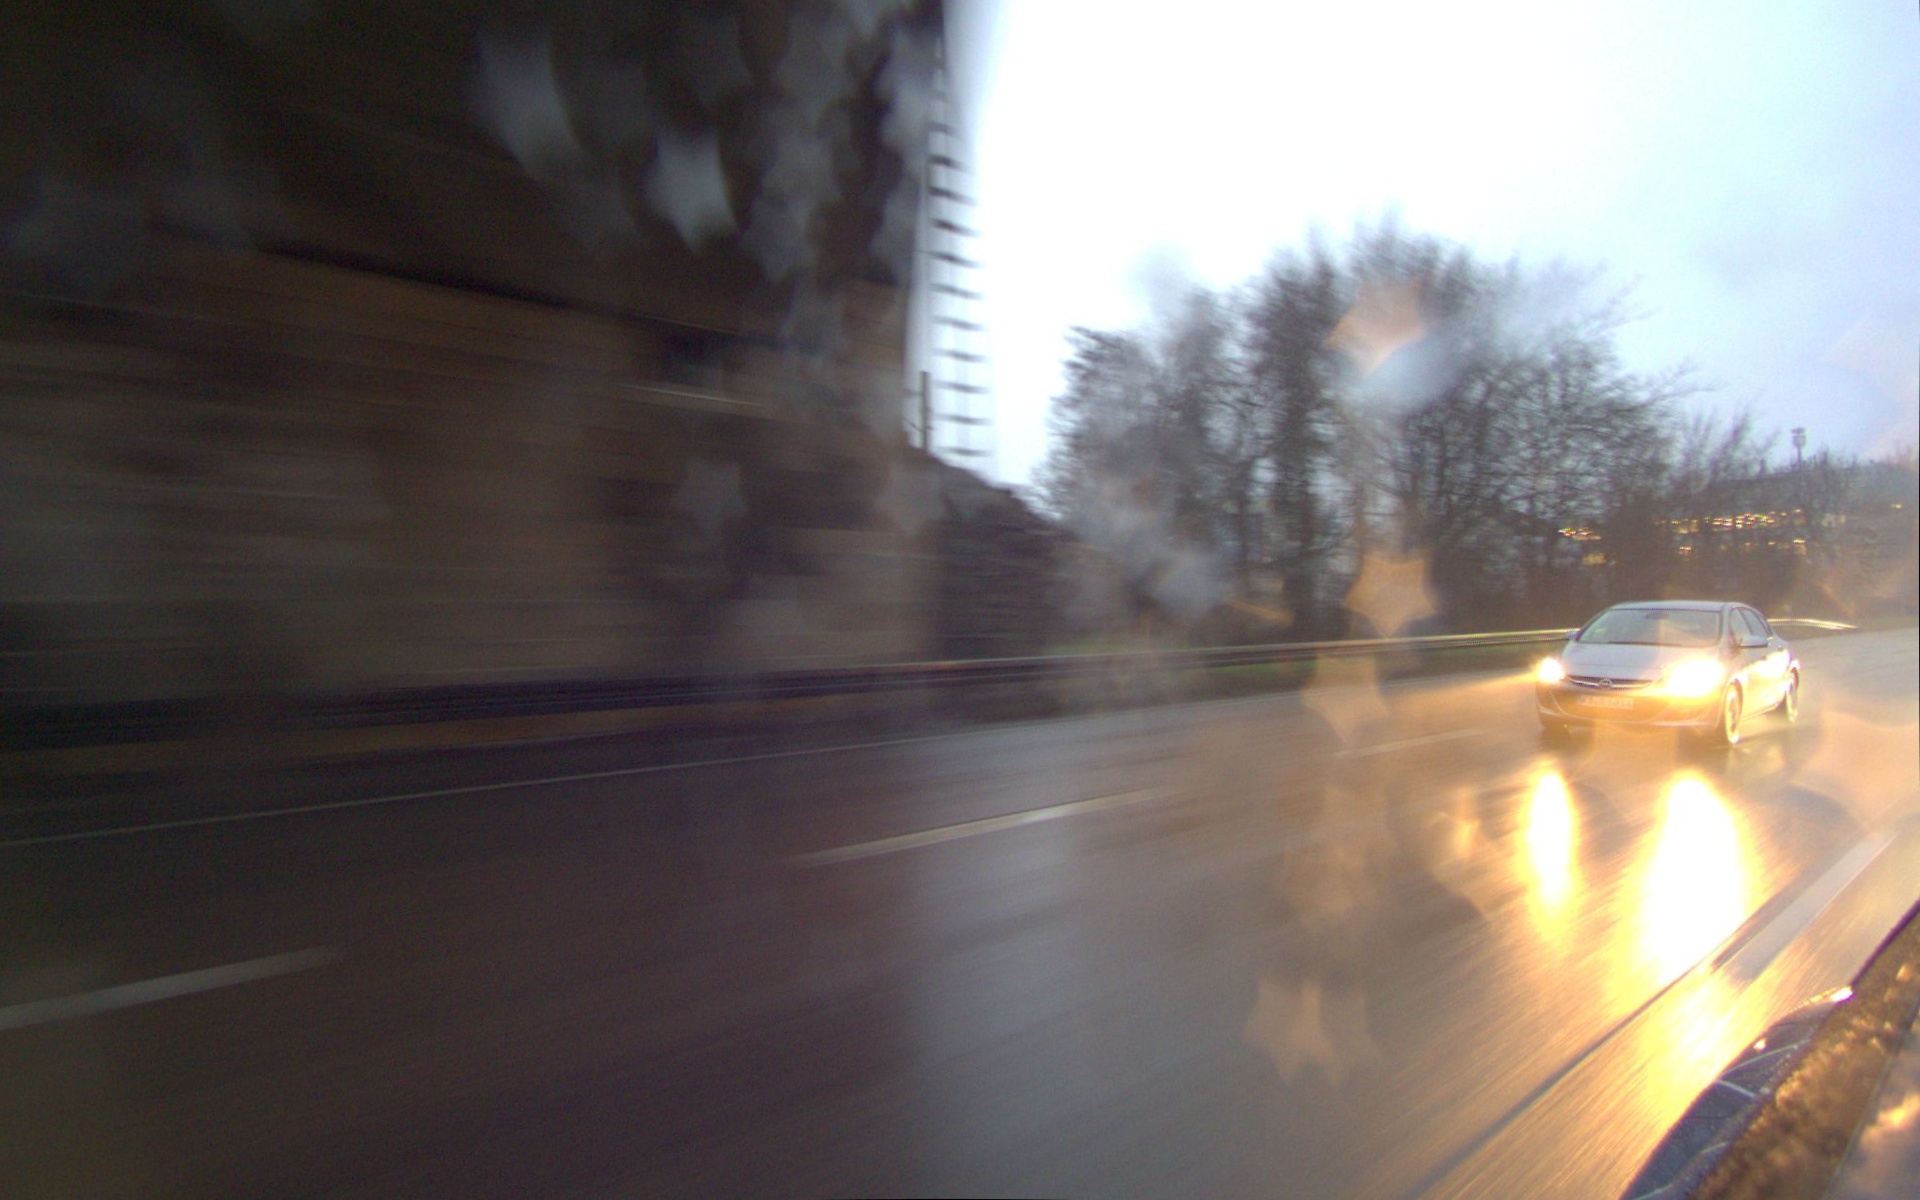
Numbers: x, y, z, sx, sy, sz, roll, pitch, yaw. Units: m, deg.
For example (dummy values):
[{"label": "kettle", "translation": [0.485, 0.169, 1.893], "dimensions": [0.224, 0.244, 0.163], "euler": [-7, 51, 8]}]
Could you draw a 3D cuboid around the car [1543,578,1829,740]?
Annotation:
[{"label": "car", "translation": [8.660, 0.562, 11.933], "dimensions": [4.190, 1.520, 1.852], "euler": [-2, 0, -42]}]
